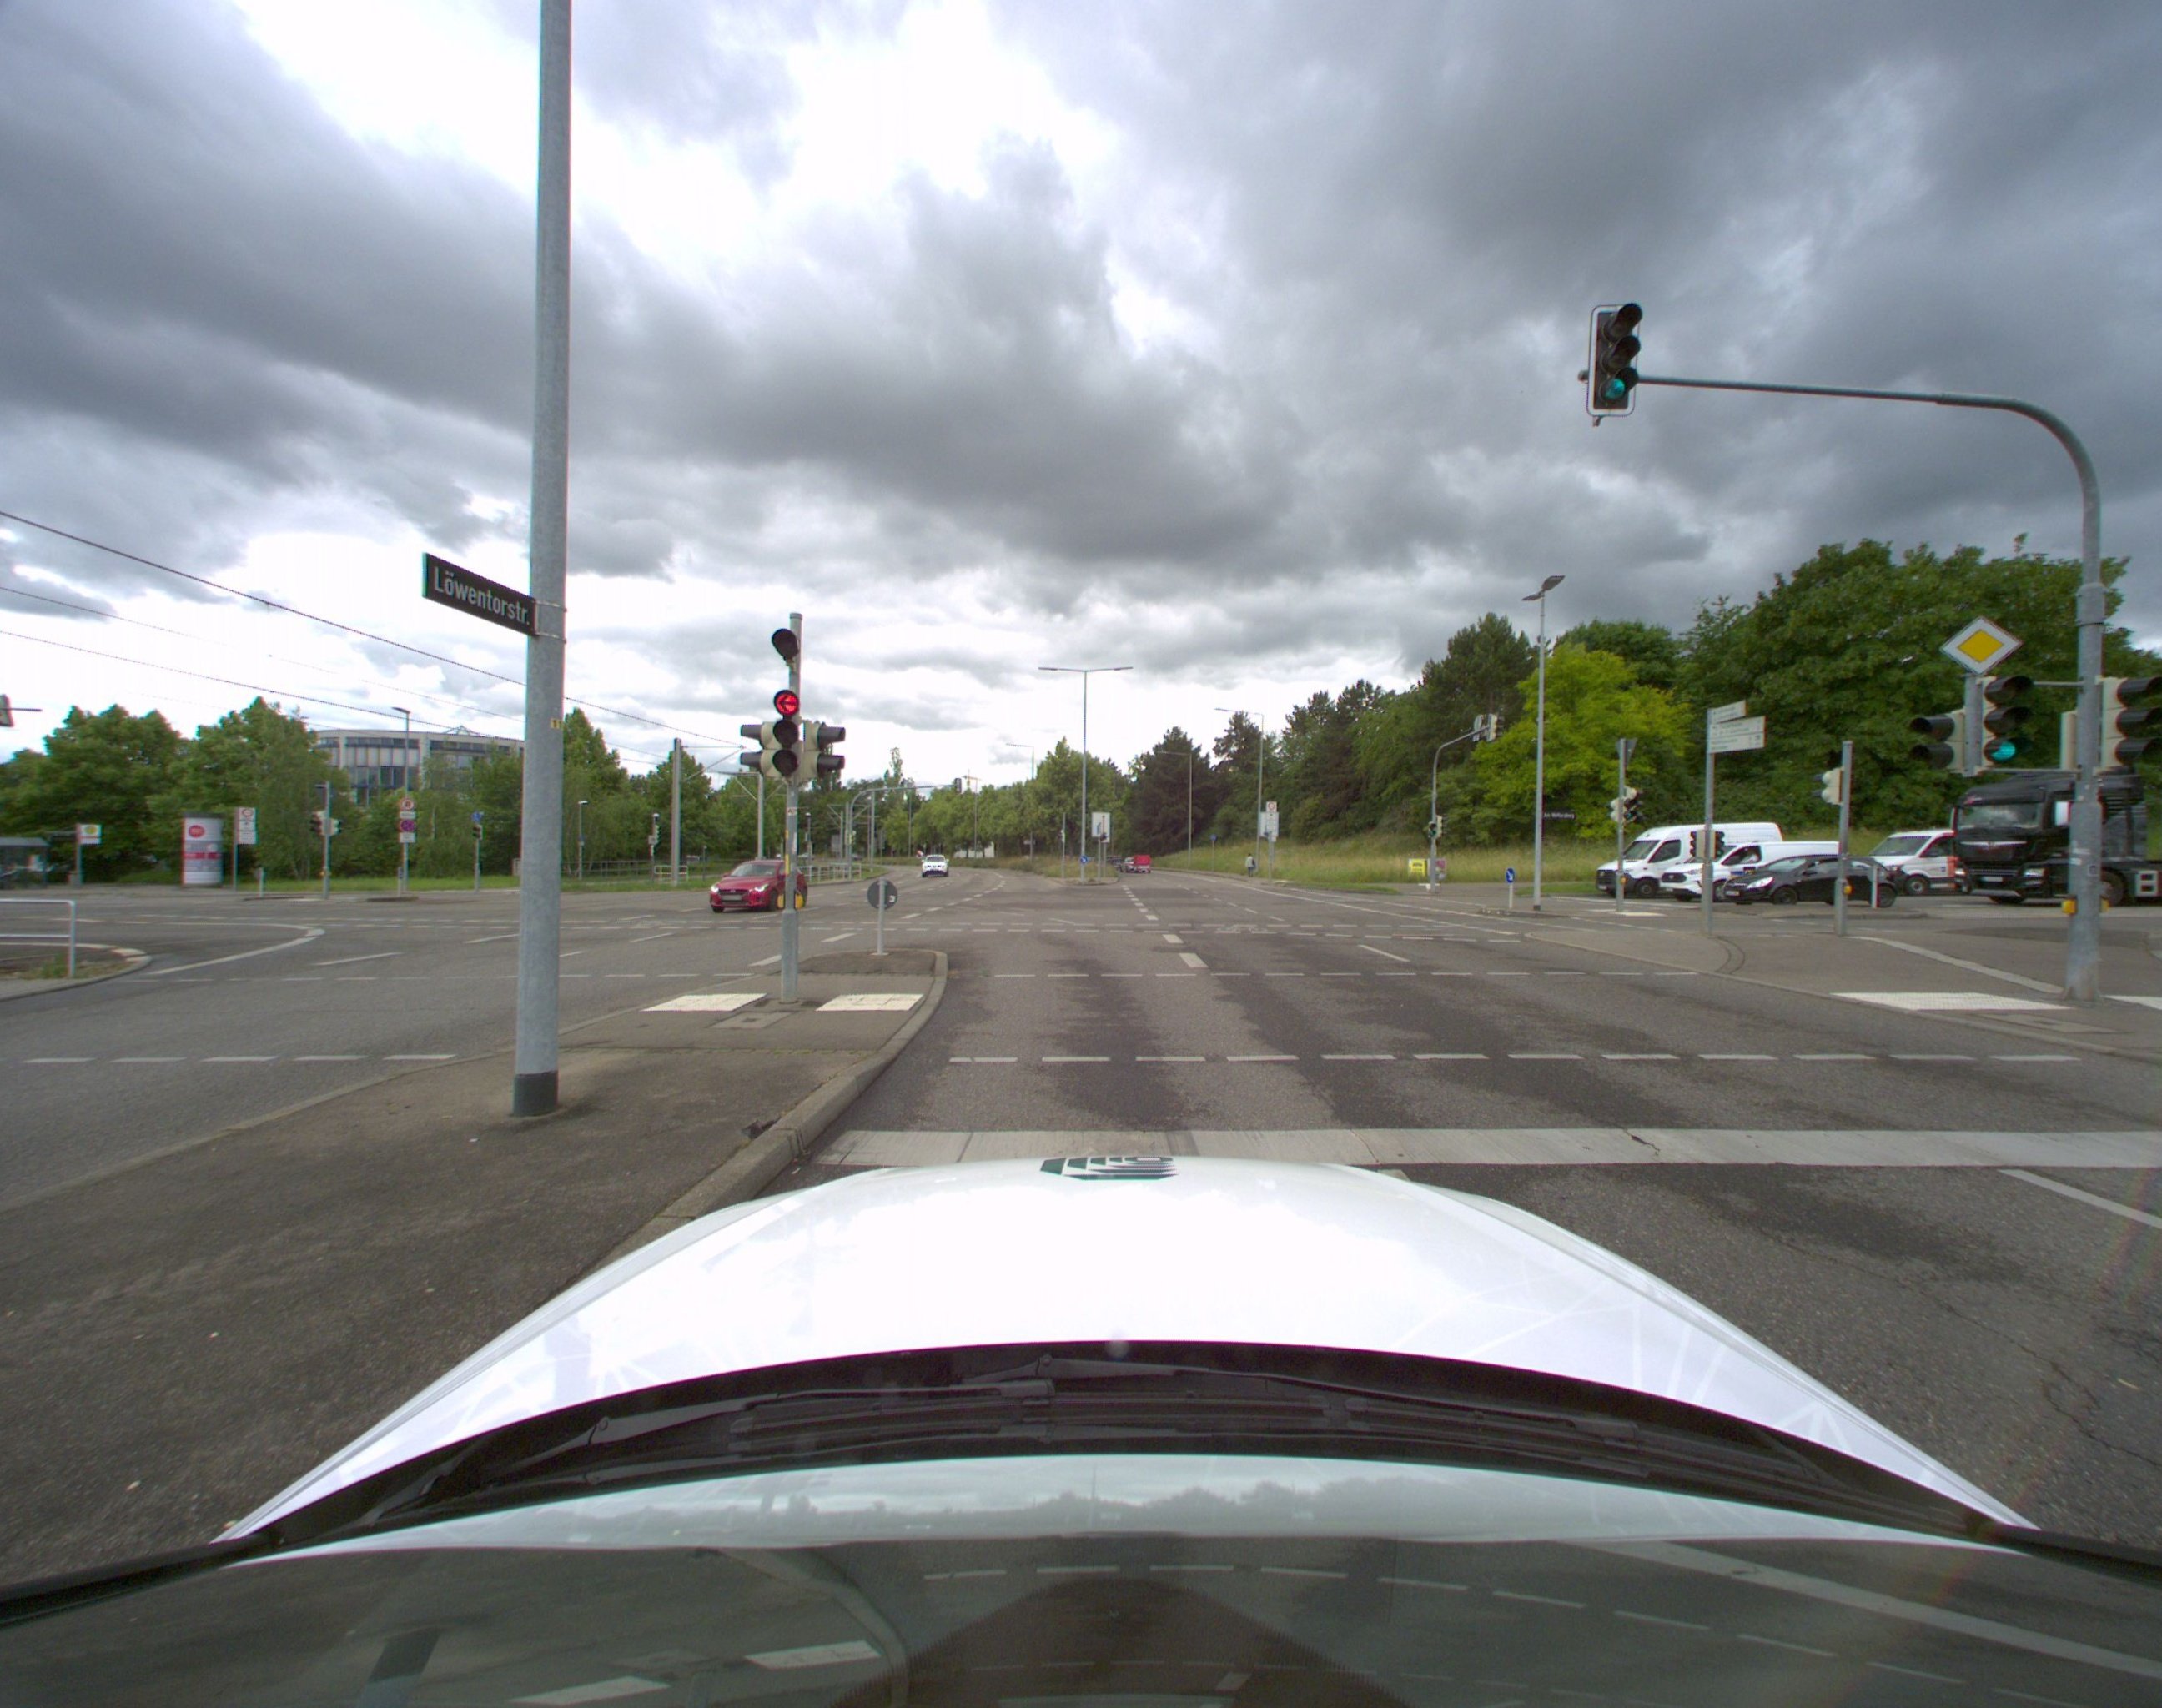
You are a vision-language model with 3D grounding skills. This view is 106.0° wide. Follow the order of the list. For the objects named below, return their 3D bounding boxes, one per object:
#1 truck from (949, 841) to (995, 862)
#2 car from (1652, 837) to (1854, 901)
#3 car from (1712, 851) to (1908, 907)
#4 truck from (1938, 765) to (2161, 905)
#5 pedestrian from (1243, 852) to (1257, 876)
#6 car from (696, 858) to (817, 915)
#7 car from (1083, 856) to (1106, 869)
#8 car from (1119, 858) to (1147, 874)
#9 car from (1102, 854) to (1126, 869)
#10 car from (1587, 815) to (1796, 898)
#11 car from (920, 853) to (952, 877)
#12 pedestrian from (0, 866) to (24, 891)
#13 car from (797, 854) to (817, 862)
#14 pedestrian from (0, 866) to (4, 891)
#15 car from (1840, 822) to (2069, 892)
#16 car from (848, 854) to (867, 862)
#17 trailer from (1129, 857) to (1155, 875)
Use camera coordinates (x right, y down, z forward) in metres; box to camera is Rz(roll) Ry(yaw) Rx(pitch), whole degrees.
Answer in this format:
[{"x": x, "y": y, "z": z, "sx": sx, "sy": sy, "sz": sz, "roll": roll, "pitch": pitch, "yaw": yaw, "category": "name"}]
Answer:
[{"x": -18.178, "y": -0.472, "z": 135.114, "sx": 2.760, "sy": 3.328, "sz": 11.284, "roll": -1, "pitch": 0, "yaw": -35, "category": "truck"}, {"x": 21.593, "y": 0.457, "z": 26.332, "sx": 4.836, "sy": 1.896, "sz": 2.034, "roll": -1, "pitch": 0, "yaw": 1, "category": "car"}, {"x": 20.282, "y": 0.669, "z": 22.775, "sx": 3.905, "sy": 1.436, "sz": 1.732, "roll": -1, "pitch": 0, "yaw": 1, "category": "car"}, {"x": 27.936, "y": -0.515, "z": 22.272, "sx": 6.027, "sy": 3.538, "sz": 2.729, "roll": -1, "pitch": 0, "yaw": 2, "category": "truck"}, {"x": 11.353, "y": 0.675, "z": 54.638, "sx": 0.811, "sy": 1.627, "sz": 0.791, "roll": 0, "pitch": 0, "yaw": 1, "category": "pedestrian"}, {"x": -9.427, "y": 0.884, "z": 24.060, "sx": 1.775, "sy": 1.443, "sz": 4.424, "roll": -1, "pitch": 0, "yaw": 0, "category": "car"}, {"x": 1.548, "y": 1.002, "z": 97.718, "sx": 1.781, "sy": 1.546, "sz": 4.005, "roll": -1, "pitch": 0, "yaw": -15, "category": "car"}, {"x": 4.982, "y": 1.164, "z": 78.145, "sx": 1.777, "sy": 1.421, "sz": 4.445, "roll": 0, "pitch": 0, "yaw": -9, "category": "car"}, {"x": 3.500, "y": 0.809, "z": 87.747, "sx": 1.778, "sy": 1.546, "sz": 4.011, "roll": 0, "pitch": 0, "yaw": -10, "category": "car"}, {"x": 21.899, "y": 0.095, "z": 29.412, "sx": 5.870, "sy": 2.781, "sz": 2.136, "roll": -1, "pitch": 0, "yaw": 2, "category": "car"}, {"x": -10.366, "y": 0.775, "z": 58.472, "sx": 1.825, "sy": 1.629, "sz": 4.418, "roll": -1, "pitch": 0, "yaw": -4, "category": "car"}, {"x": -56.416, "y": 1.277, "z": 42.868, "sx": 0.774, "sy": 1.304, "sz": 0.666, "roll": 0, "pitch": 0, "yaw": 15, "category": "pedestrian"}, {"x": -58.019, "y": 0.934, "z": 172.198, "sx": 3.948, "sy": 1.684, "sz": 2.013, "roll": -1, "pitch": -1, "yaw": 33, "category": "car"}, {"x": -57.778, "y": 1.295, "z": 43.133, "sx": 0.774, "sy": 1.303, "sz": 0.666, "roll": 0, "pitch": 0, "yaw": 15, "category": "pedestrian"}, {"x": 30.684, "y": 0.110, "z": 28.766, "sx": 5.677, "sy": 2.289, "sz": 2.136, "roll": -1, "pitch": 0, "yaw": 2, "category": "car"}, {"x": -44.951, "y": 0.757, "z": 163.485, "sx": 3.973, "sy": 1.546, "sz": 1.795, "roll": 0, "pitch": 0, "yaw": 41, "category": "car"}, {"x": 5.543, "y": 1.077, "z": 74.453, "sx": 1.764, "sy": 1.616, "sz": 3.035, "roll": 0, "pitch": 0, "yaw": -9, "category": "trailer"}]
